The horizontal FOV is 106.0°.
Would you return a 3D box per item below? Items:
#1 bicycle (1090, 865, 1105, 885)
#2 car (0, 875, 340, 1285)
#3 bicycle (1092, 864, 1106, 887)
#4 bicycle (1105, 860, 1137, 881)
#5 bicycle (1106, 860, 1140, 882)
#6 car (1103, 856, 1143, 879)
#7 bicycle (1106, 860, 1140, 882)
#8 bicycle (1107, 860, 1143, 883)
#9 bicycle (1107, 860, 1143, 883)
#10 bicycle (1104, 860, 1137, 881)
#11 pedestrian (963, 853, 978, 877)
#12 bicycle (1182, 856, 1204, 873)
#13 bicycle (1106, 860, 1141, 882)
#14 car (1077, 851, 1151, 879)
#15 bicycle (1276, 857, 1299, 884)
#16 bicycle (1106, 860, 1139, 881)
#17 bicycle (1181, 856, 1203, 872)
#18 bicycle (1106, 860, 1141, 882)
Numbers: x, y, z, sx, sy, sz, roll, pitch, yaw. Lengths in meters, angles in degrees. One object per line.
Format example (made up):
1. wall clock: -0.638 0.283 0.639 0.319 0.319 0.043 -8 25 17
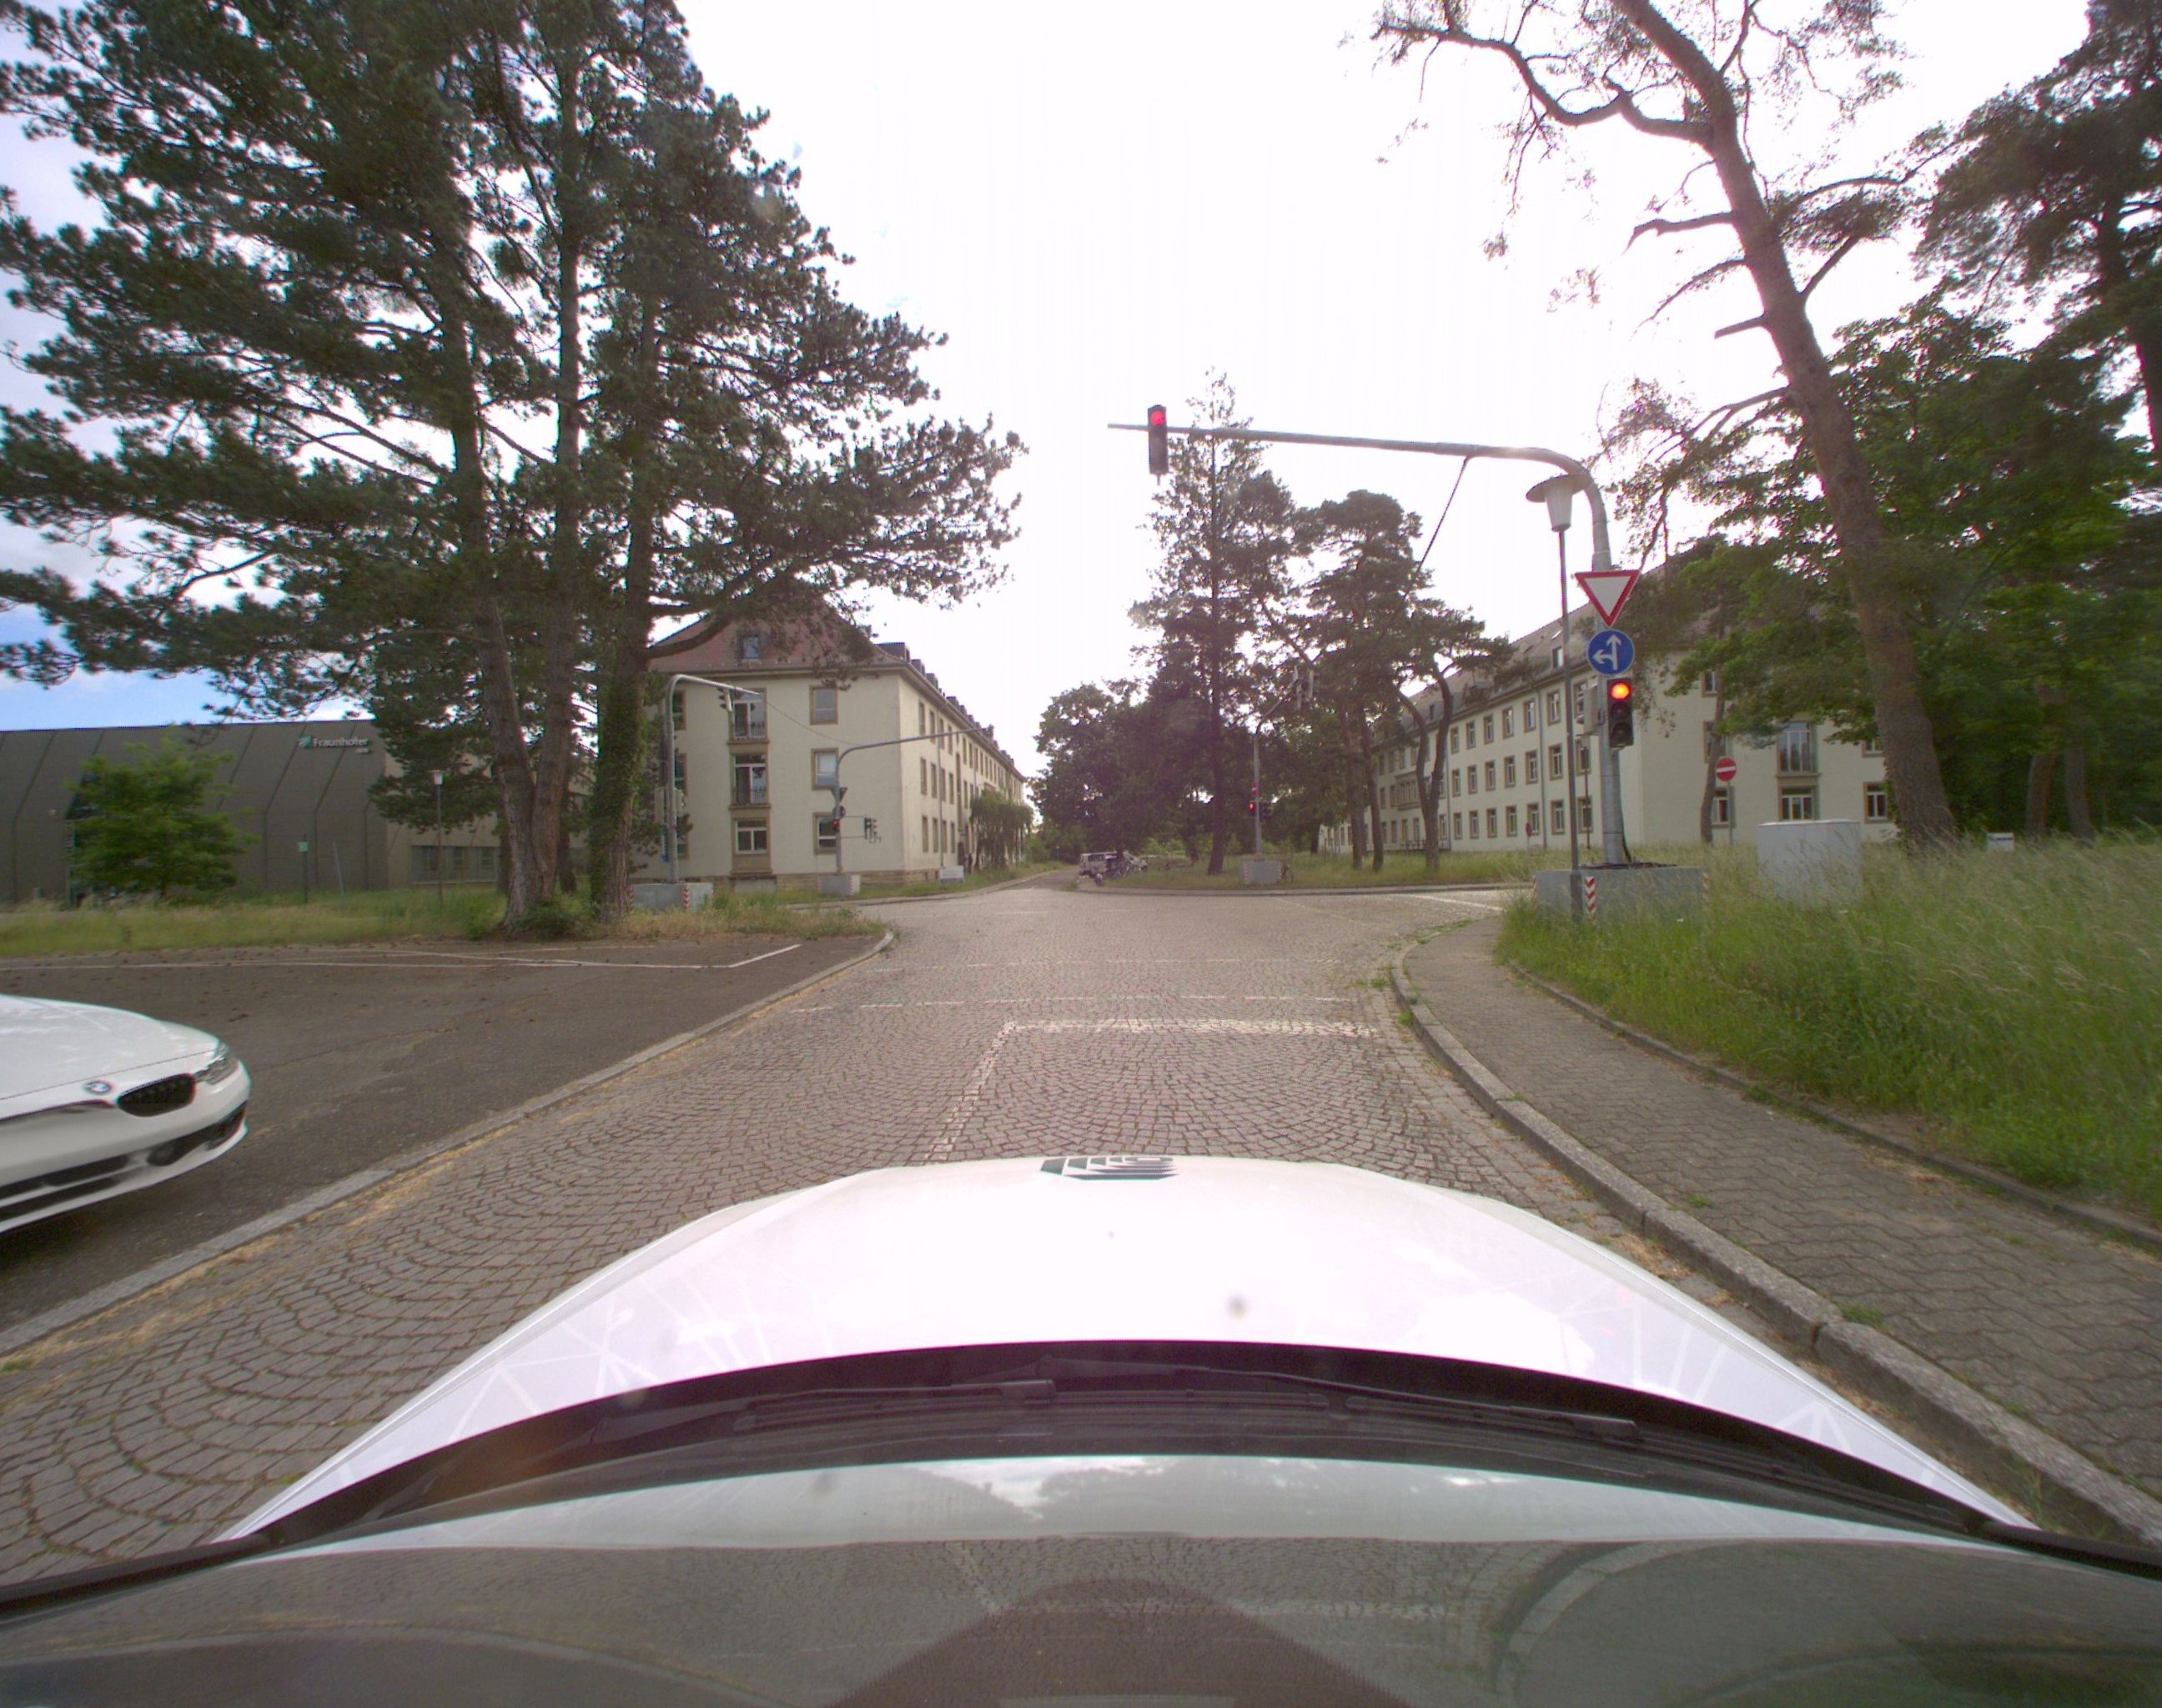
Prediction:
1. bicycle: 0.899 1.116 43.712 0.619 1.082 1.680 -1 -1 6
2. car: -6.418 0.866 3.479 4.724 1.488 1.866 0 1 -1
3. bicycle: 0.927 1.078 41.756 0.619 1.113 1.991 -1 -1 5
4. bicycle: 2.495 1.032 50.765 1.976 1.248 0.624 -1 -1 -1
5. bicycle: 2.510 1.008 48.678 1.976 1.248 0.624 -1 -1 -1
6. car: 3.049 0.967 59.726 2.837 1.558 1.472 -2 1 1
7. bicycle: 2.484 1.002 48.153 1.976 1.248 0.624 -1 -1 -1
8. bicycle: 2.433 0.968 45.105 1.976 1.248 0.624 -1 -1 -1
9. bicycle: 2.445 0.975 45.734 1.976 1.248 0.624 -1 -1 -1
10. bicycle: 2.508 1.040 51.425 1.976 1.248 0.624 -3 -1 -1
11. pedestrian: -8.321 0.825 61.247 0.833 1.781 0.943 -2 -1 7
12. bicycle: 8.035 0.755 58.565 1.542 1.125 0.401 -2 -1 3
13. bicycle: 2.466 0.995 47.520 1.976 1.248 0.624 -1 -1 -1
14. car: 2.514 0.835 63.217 5.310 1.916 2.140 -2 0 -13
15. bicycle: 8.242 0.640 32.563 0.577 0.970 1.680 -4 1 6
16. bicycle: 2.514 1.020 49.757 1.976 1.248 0.624 -1 -1 -1
17. bicycle: 8.137 0.765 59.795 1.542 1.125 0.401 -2 -1 3
18. bicycle: 2.449 0.985 46.661 1.976 1.248 0.624 -1 -1 -1
